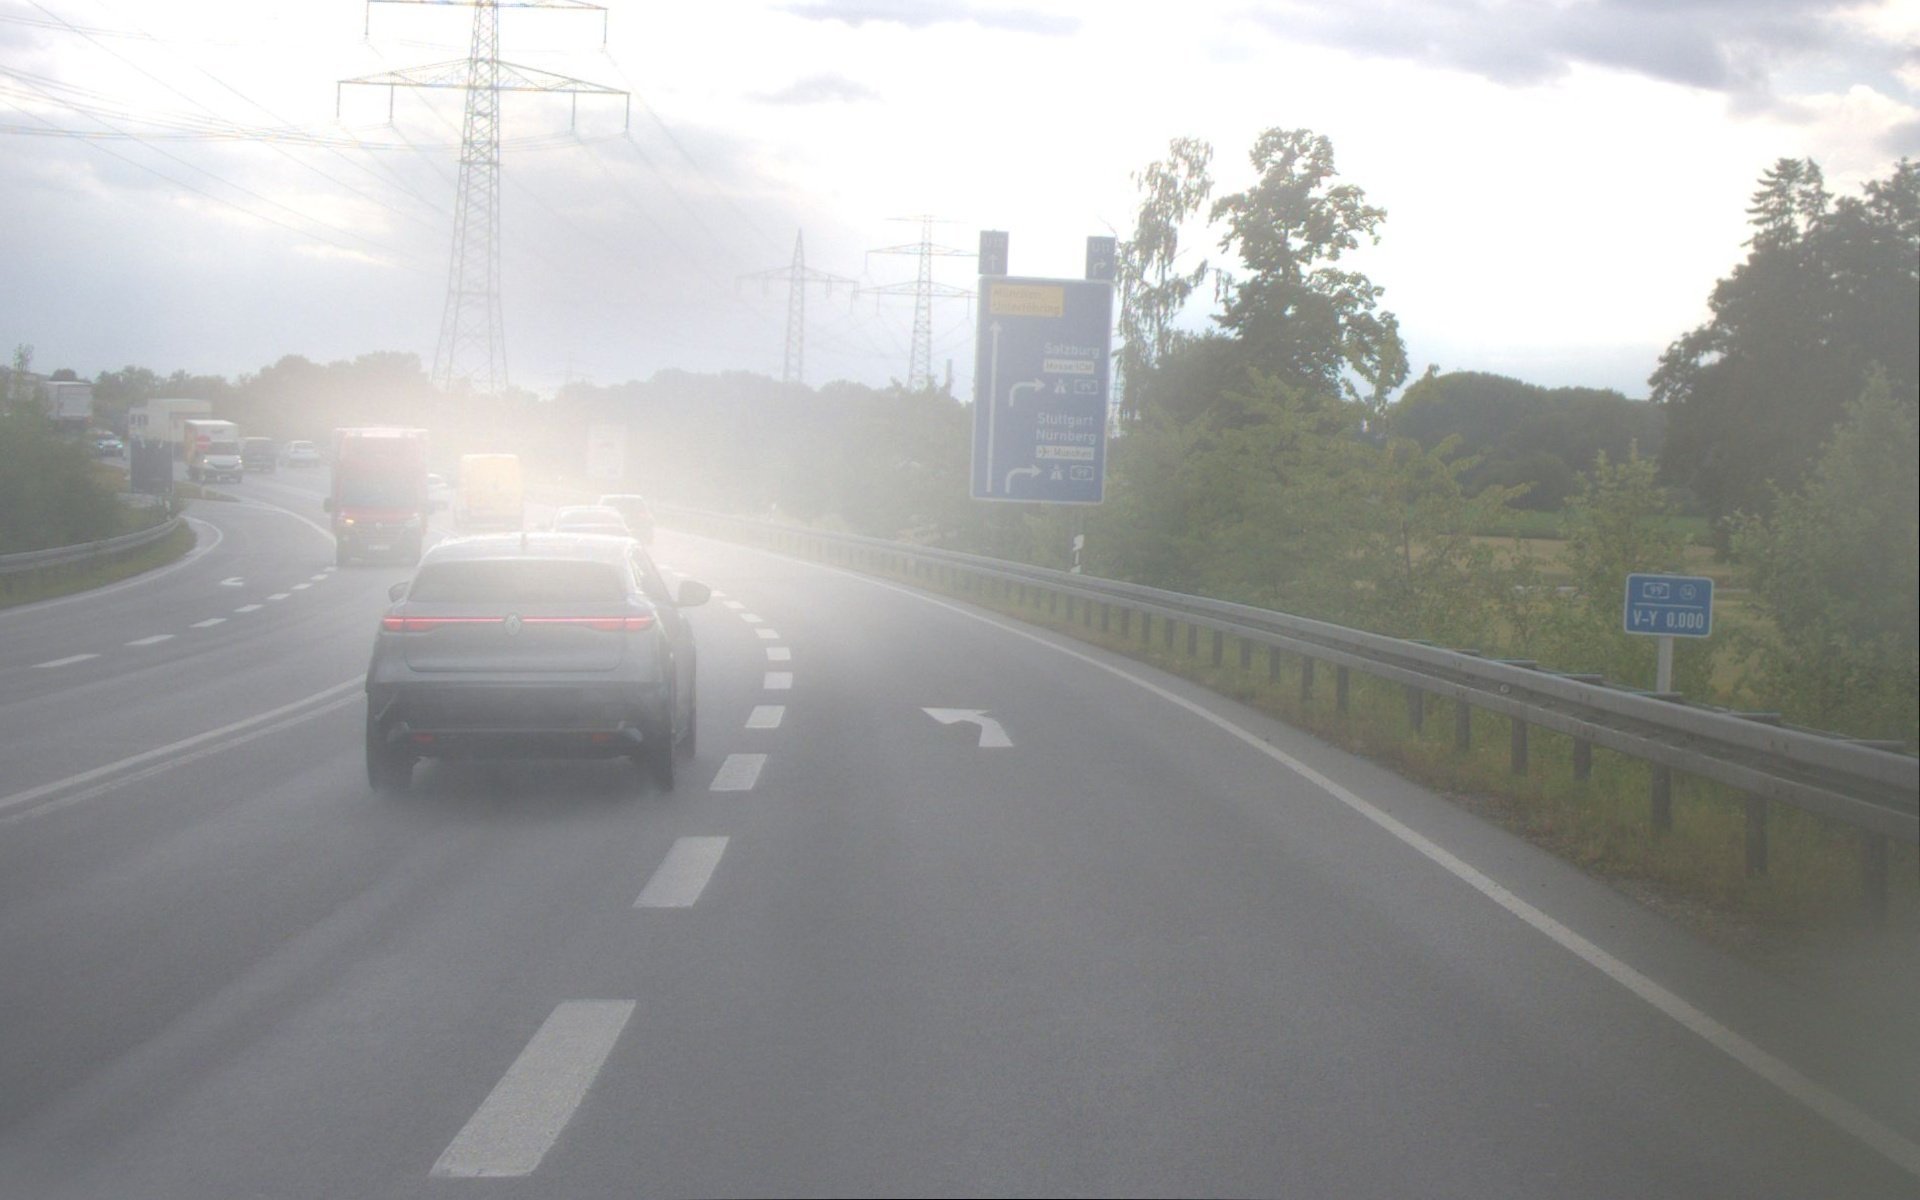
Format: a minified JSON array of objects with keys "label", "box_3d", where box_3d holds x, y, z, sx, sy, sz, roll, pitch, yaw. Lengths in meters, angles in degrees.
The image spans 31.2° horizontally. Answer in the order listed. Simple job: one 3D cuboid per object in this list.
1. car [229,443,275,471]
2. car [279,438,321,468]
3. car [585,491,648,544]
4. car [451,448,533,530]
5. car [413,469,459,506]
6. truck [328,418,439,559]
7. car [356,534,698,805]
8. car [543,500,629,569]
[{"label":"car","box_3d":[-39.252,-7.920,190.590,1.791,1.436,4.002,4,1,-20]},{"label":"car","box_3d":[-38.459,-8.553,200.136,1.799,1.569,4.261,2,2,-18]},{"label":"car","box_3d":[-10.085,-2.431,101.165,1.791,1.536,4.001,-1,1,-5]},{"label":"car","box_3d":[-15.953,-3.794,117.554,2.572,2.716,7.198,0,2,-6]},{"label":"car","box_3d":[-21.601,-4.622,141.679,1.791,1.436,4.001,-1,2,-10]},{"label":"truck","box_3d":[-14.066,-2.755,84.213,2.480,3.280,7.283,-1,2,-8]},{"label":"car","box_3d":[-2.559,0.352,21.120,1.791,1.436,4.001,1,1,-3]},{"label":"car","box_3d":[-8.214,-1.456,75.327,1.791,1.436,4.001,1,2,-7]}]
